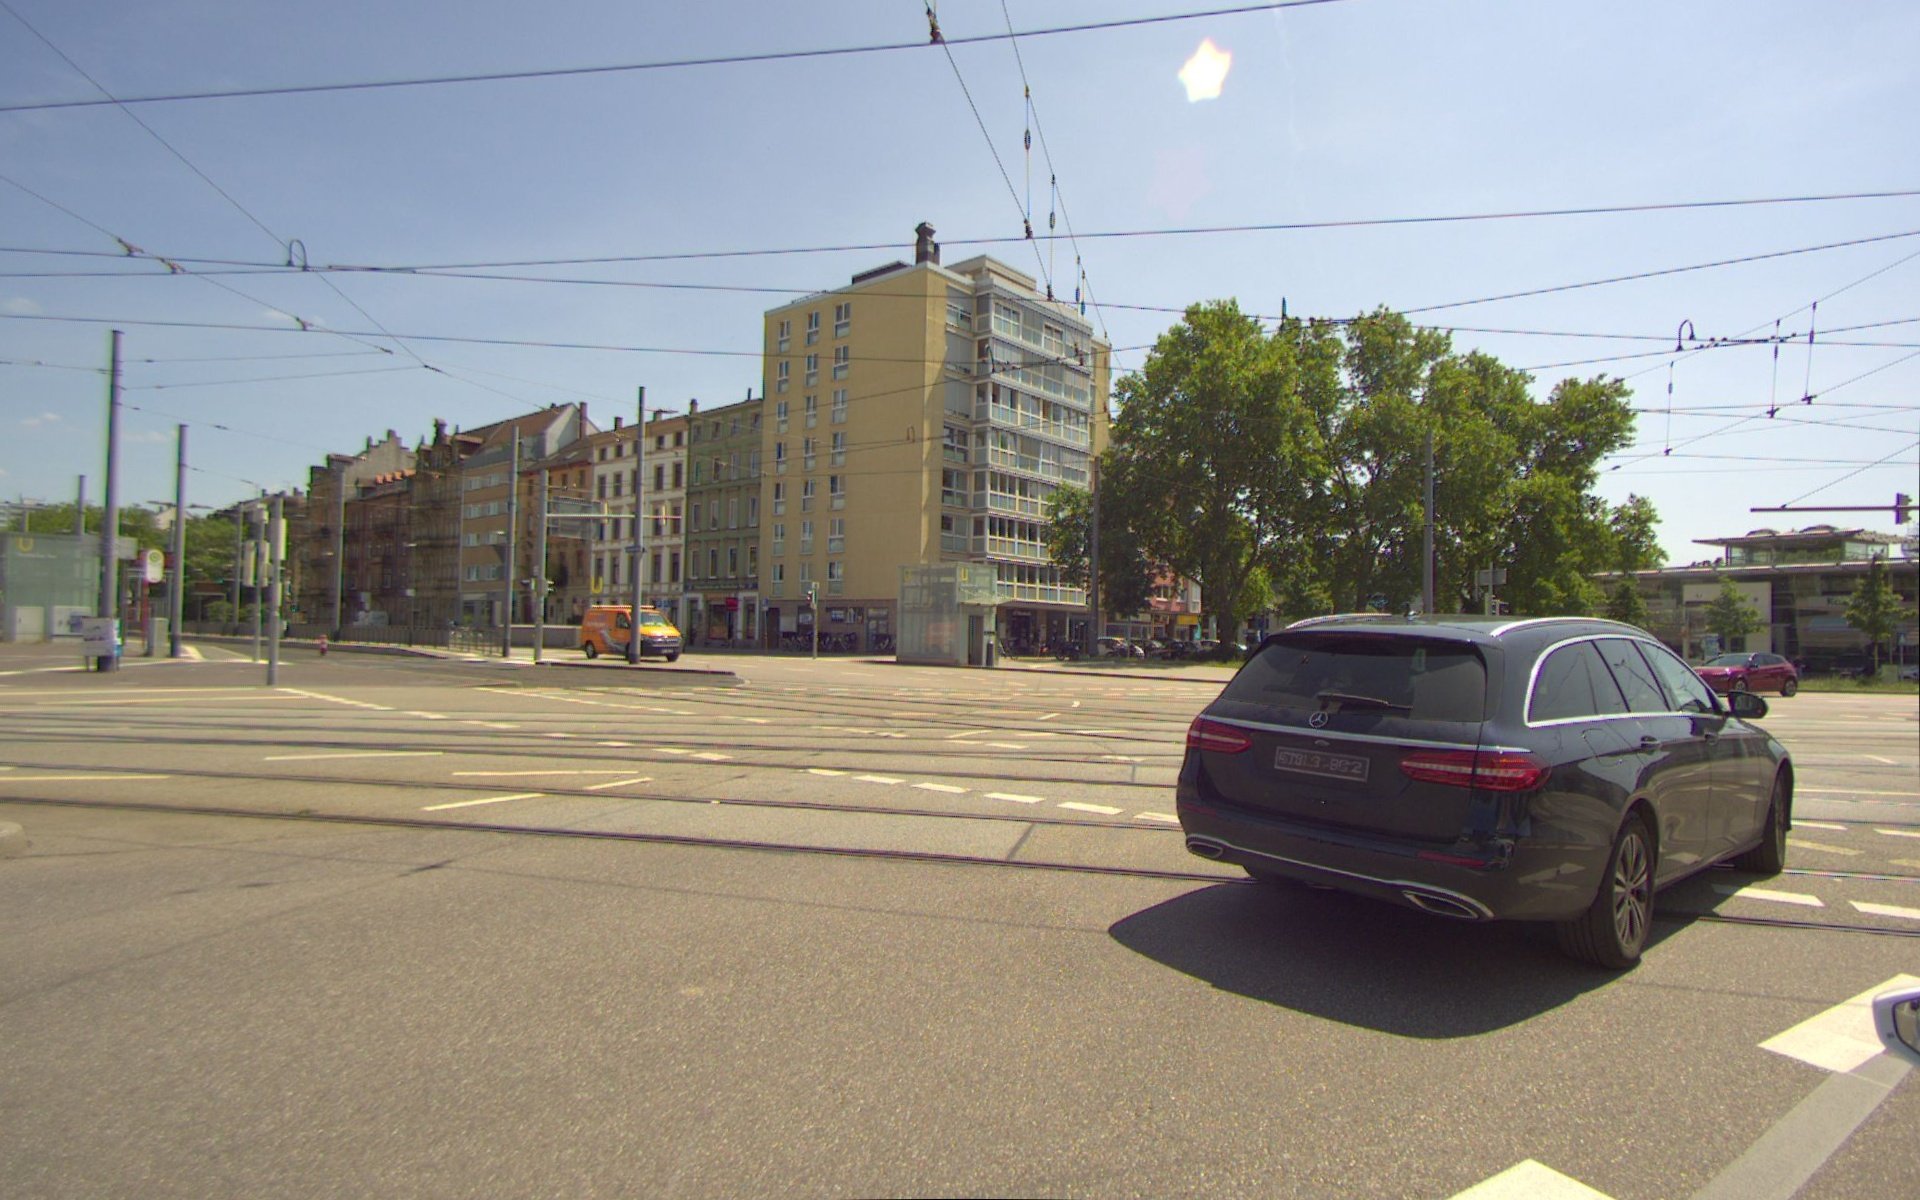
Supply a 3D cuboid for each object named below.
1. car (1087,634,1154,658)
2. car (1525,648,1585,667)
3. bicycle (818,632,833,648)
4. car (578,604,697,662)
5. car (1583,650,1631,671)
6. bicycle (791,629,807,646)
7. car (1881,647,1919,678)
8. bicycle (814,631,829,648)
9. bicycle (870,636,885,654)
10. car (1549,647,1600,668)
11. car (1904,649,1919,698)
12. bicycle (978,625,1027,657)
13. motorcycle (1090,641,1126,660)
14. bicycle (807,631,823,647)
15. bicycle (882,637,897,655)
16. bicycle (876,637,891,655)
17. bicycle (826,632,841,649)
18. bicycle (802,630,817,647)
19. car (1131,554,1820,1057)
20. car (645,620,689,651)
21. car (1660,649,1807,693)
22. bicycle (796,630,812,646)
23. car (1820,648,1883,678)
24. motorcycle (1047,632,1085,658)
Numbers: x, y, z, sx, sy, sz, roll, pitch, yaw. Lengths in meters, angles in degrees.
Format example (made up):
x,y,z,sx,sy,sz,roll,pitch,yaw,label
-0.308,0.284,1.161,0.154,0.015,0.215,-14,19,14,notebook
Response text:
x,y,z,sx,sy,sz,roll,pitch,yaw,label
10.793,3.093,67.625,3.933,1.439,1.995,0,-2,34,car
51.171,4.938,86.429,4.243,1.530,1.772,1,-2,23,car
-8.433,2.517,63.192,0.424,1.040,1.445,1,-2,14,bicycle
-12.310,1.224,38.195,4.798,2.084,1.991,0,-2,40,car
49.932,4.666,77.455,4.287,1.530,1.754,3,-2,-37,car
-10.388,2.426,64.892,0.424,1.040,1.445,1,-2,14,bicycle
58.405,3.877,61.515,3.956,1.729,1.910,4,-1,-32,car
-8.764,2.503,63.576,0.424,1.040,1.445,1,-2,14,bicycle
-4.931,2.677,59.899,0.424,1.040,1.445,1,-2,14,bicycle
48.926,4.590,79.976,4.278,1.530,1.758,3,-2,-32,car
33.988,2.498,33.218,4.771,1.601,2.075,2,-2,-19,car
2.497,2.399,59.428,2.848,1.790,1.095,0,-2,41,bicycle
8.125,2.773,55.260,1.885,0.974,0.525,1,-2,28,motorcycle
-9.217,2.480,63.854,0.424,1.040,1.445,1,-2,14,bicycle
-4.166,2.715,59.354,0.424,1.040,1.445,1,-2,14,bicycle
-4.545,2.696,59.603,0.424,1.040,1.445,1,-2,14,bicycle
-7.906,2.544,62.955,0.424,1.040,1.445,1,-2,14,bicycle
-9.590,2.462,64.148,0.424,1.040,1.445,1,-2,14,bicycle
3.179,0.750,5.585,4.768,1.662,1.781,3,-1,-42,car
-17.780,2.141,61.087,1.804,1.773,3.997,1,-2,-6,car
28.338,2.591,36.803,4.771,1.484,1.992,2,-2,-19,car
-10.033,2.442,64.567,0.424,1.040,1.445,1,-2,14,bicycle
56.802,4.016,64.010,3.956,1.729,1.910,4,-1,-32,car
5.413,2.282,51.455,0.949,1.238,2.802,2,-2,-17,motorcycle
